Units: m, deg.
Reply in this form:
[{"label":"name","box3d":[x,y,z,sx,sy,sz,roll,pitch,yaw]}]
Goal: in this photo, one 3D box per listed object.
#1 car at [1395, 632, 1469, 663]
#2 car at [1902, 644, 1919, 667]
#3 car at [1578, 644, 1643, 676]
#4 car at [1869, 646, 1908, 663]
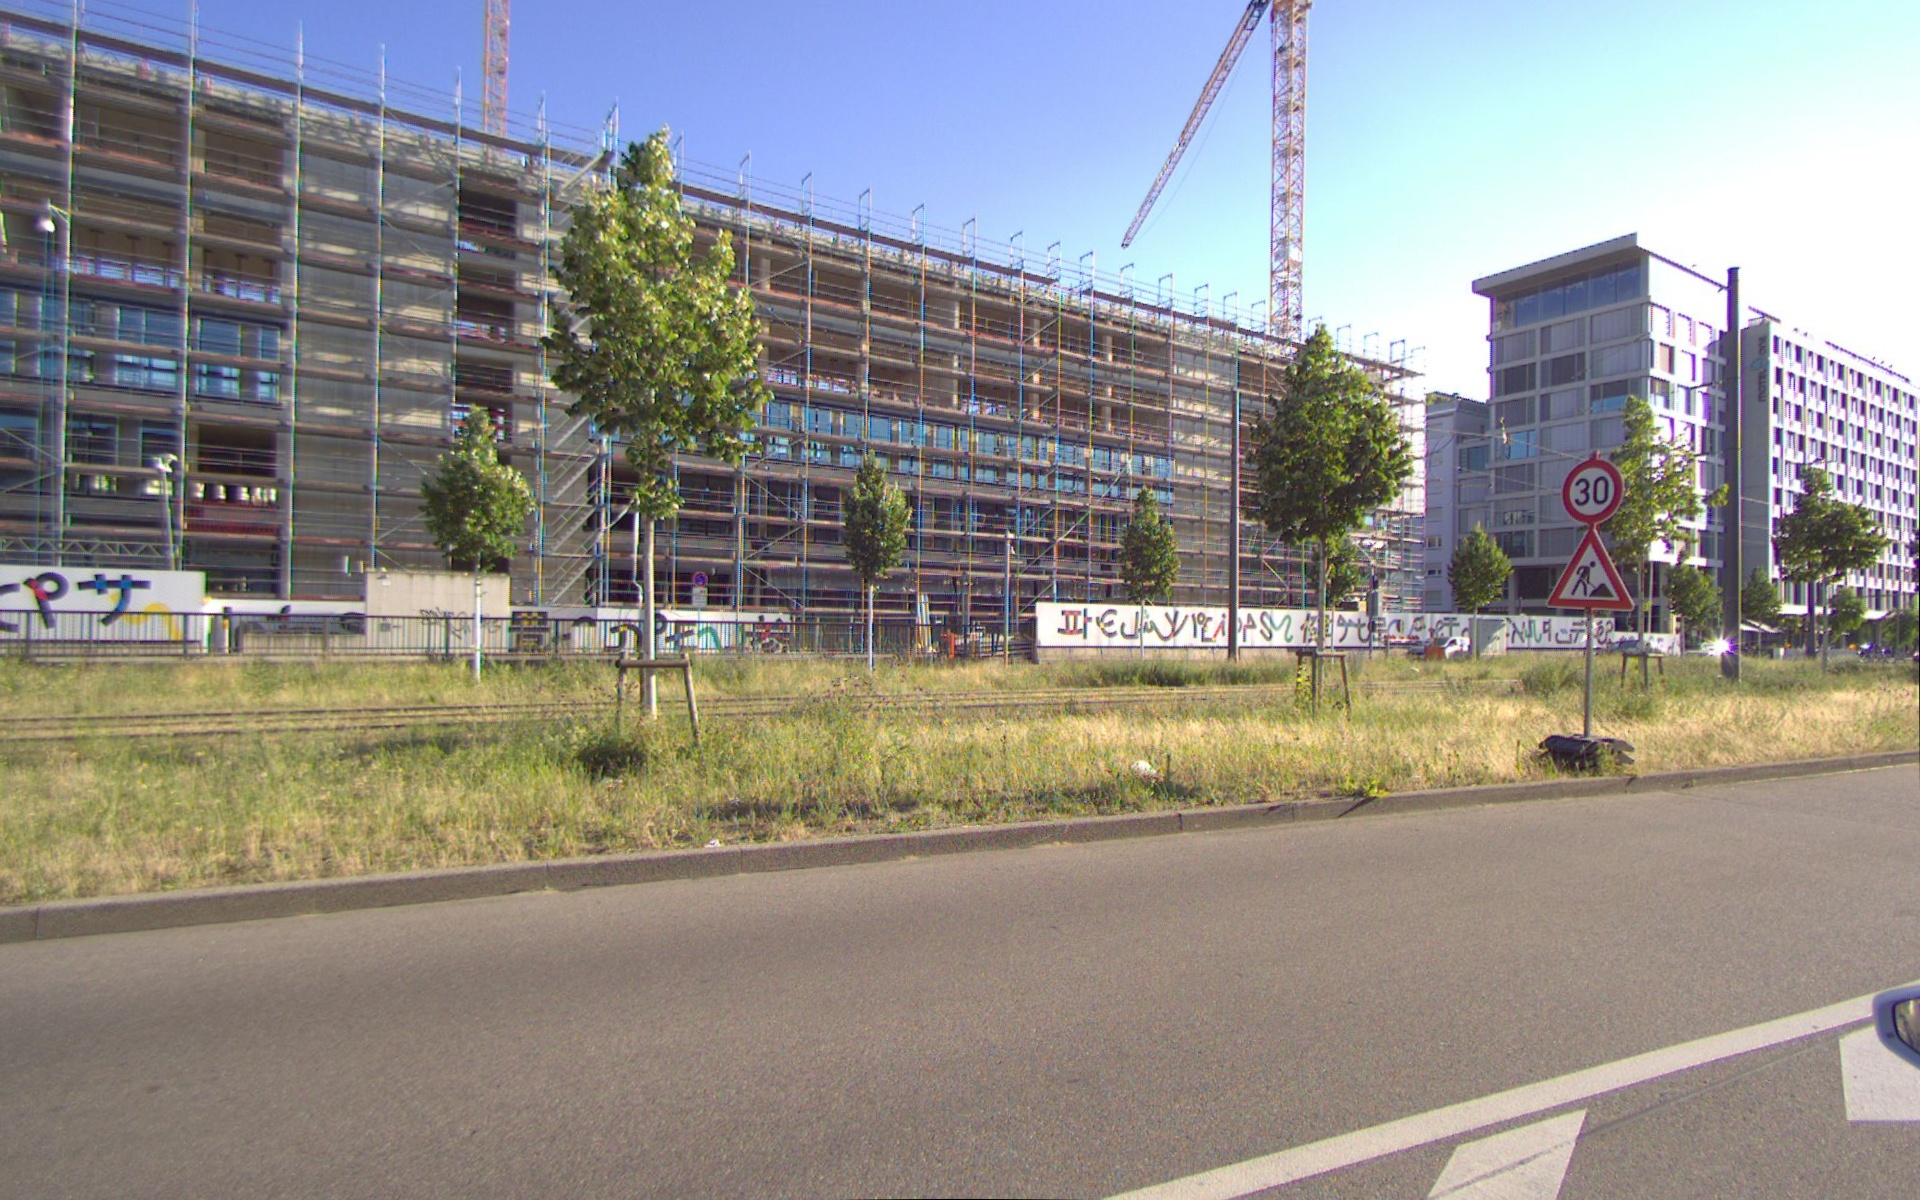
[{"label":"car","box3d":[23.558,2.356,50.099,3.543,1.461,1.699,2,0,-32]},{"label":"car","box3d":[74.192,4.248,77.012,3.592,1.706,1.783,2,0,-27]},{"label":"car","box3d":[37.897,3.494,58.472,3.597,1.706,1.781,2,0,-31]},{"label":"car","box3d":[83.944,4.927,90.809,3.543,1.461,1.699,2,0,-32]}]
